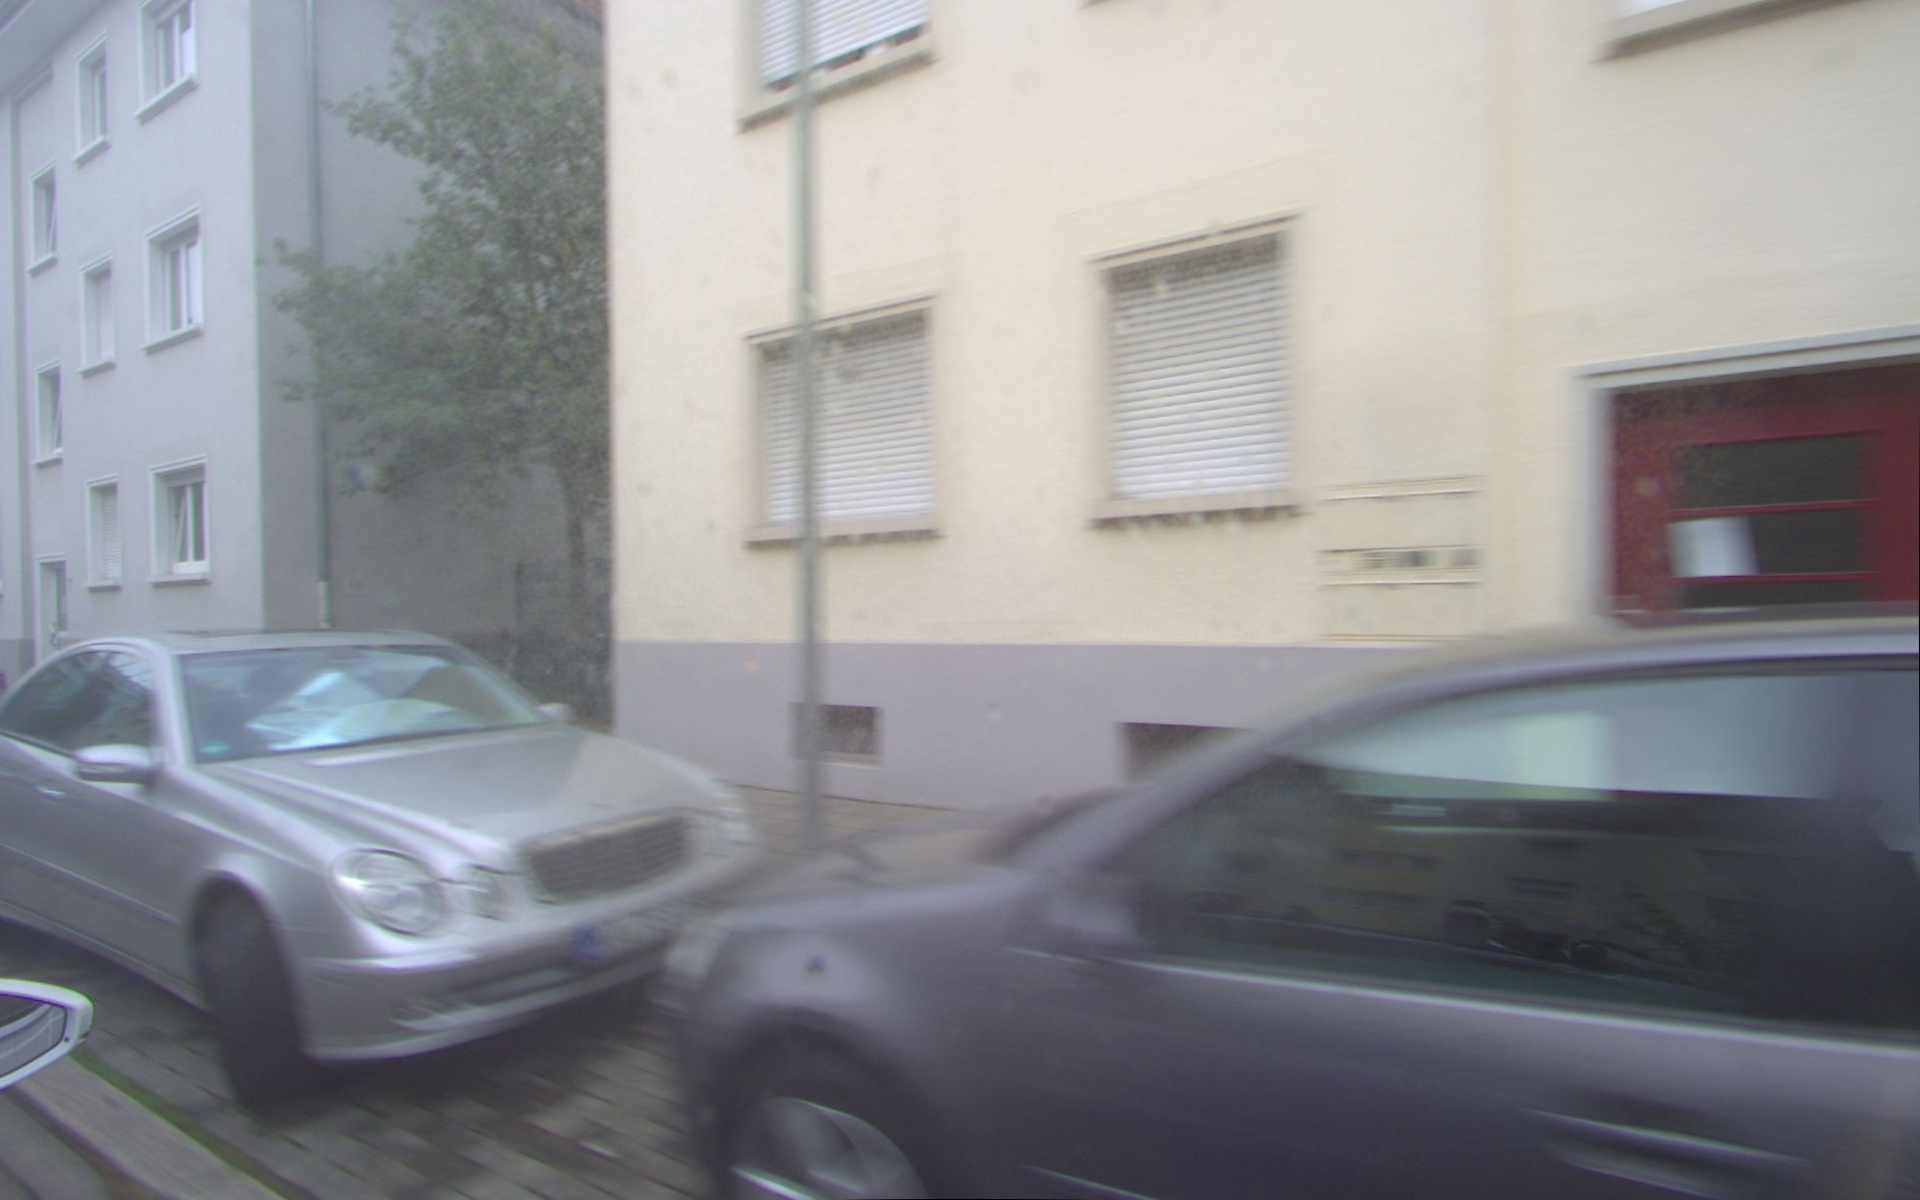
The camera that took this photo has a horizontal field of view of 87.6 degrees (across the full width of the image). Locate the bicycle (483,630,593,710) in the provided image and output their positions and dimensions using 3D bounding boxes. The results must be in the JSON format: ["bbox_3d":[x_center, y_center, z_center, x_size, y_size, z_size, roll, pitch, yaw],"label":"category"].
[{"bbox_3d":[-6.136,0.994,14.628,0.491,1.076,1.444,-1,0,34],"label":"bicycle"}]

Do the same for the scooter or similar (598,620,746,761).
[{"bbox_3d":[-2.766,0.831,9.678,1.267,1.262,0.518,0,0,-41],"label":"scooter or similar"}]

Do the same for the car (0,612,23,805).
[{"bbox_3d":[-10.326,0.948,9.078,4.034,1.663,1.816,-1,-1,34],"label":"car"}]

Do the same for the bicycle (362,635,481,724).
[{"bbox_3d":[-7.027,1.010,13.109,0.491,1.076,1.289,-1,0,35],"label":"bicycle"}]

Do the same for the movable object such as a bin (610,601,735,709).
[{"bbox_3d":[-3.953,0.730,13.789,1.204,1.397,1.134,-1,0,35],"label":"movable object such as a bin"}]

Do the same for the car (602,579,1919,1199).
[{"bbox_3d":[1.230,0.748,1.855,3.815,1.495,1.600,-1,-1,33],"label":"car"}]

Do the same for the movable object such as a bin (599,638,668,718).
[{"bbox_3d":[-4.134,0.970,12.698,0.639,0.965,0.553,-1,0,35],"label":"movable object such as a bin"}]

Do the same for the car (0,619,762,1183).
[{"bbox_3d":[-3.130,0.856,4.611,4.441,1.495,1.721,-1,-2,33],"label":"car"}]
